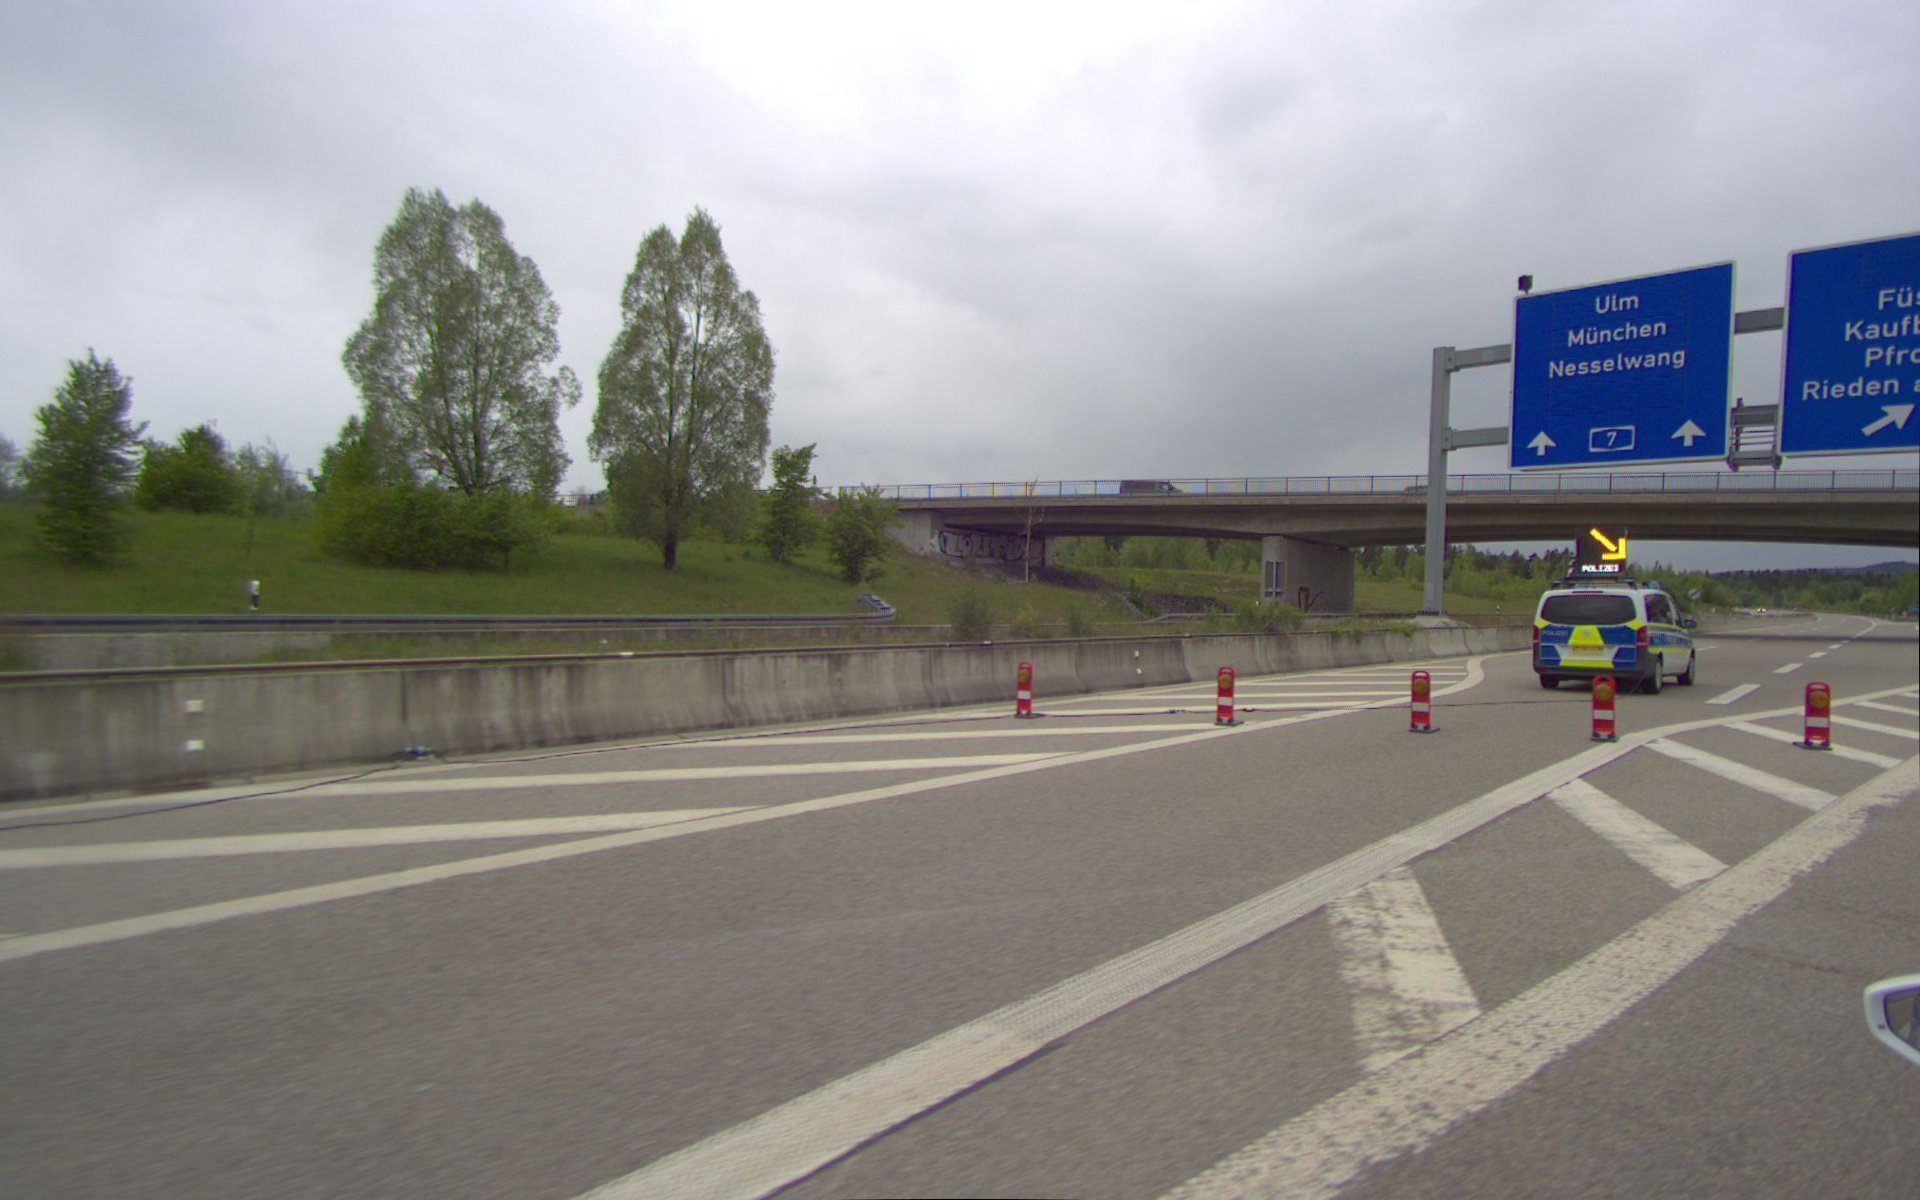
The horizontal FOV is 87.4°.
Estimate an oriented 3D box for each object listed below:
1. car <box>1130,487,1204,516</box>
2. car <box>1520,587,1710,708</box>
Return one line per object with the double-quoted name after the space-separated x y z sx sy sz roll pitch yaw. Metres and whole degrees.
14.619 -6.968 71.023 4.843 1.669 2.000 0 -1 22 "car"
12.890 0.819 19.625 2.262 2.040 5.020 0 0 43 "car"
